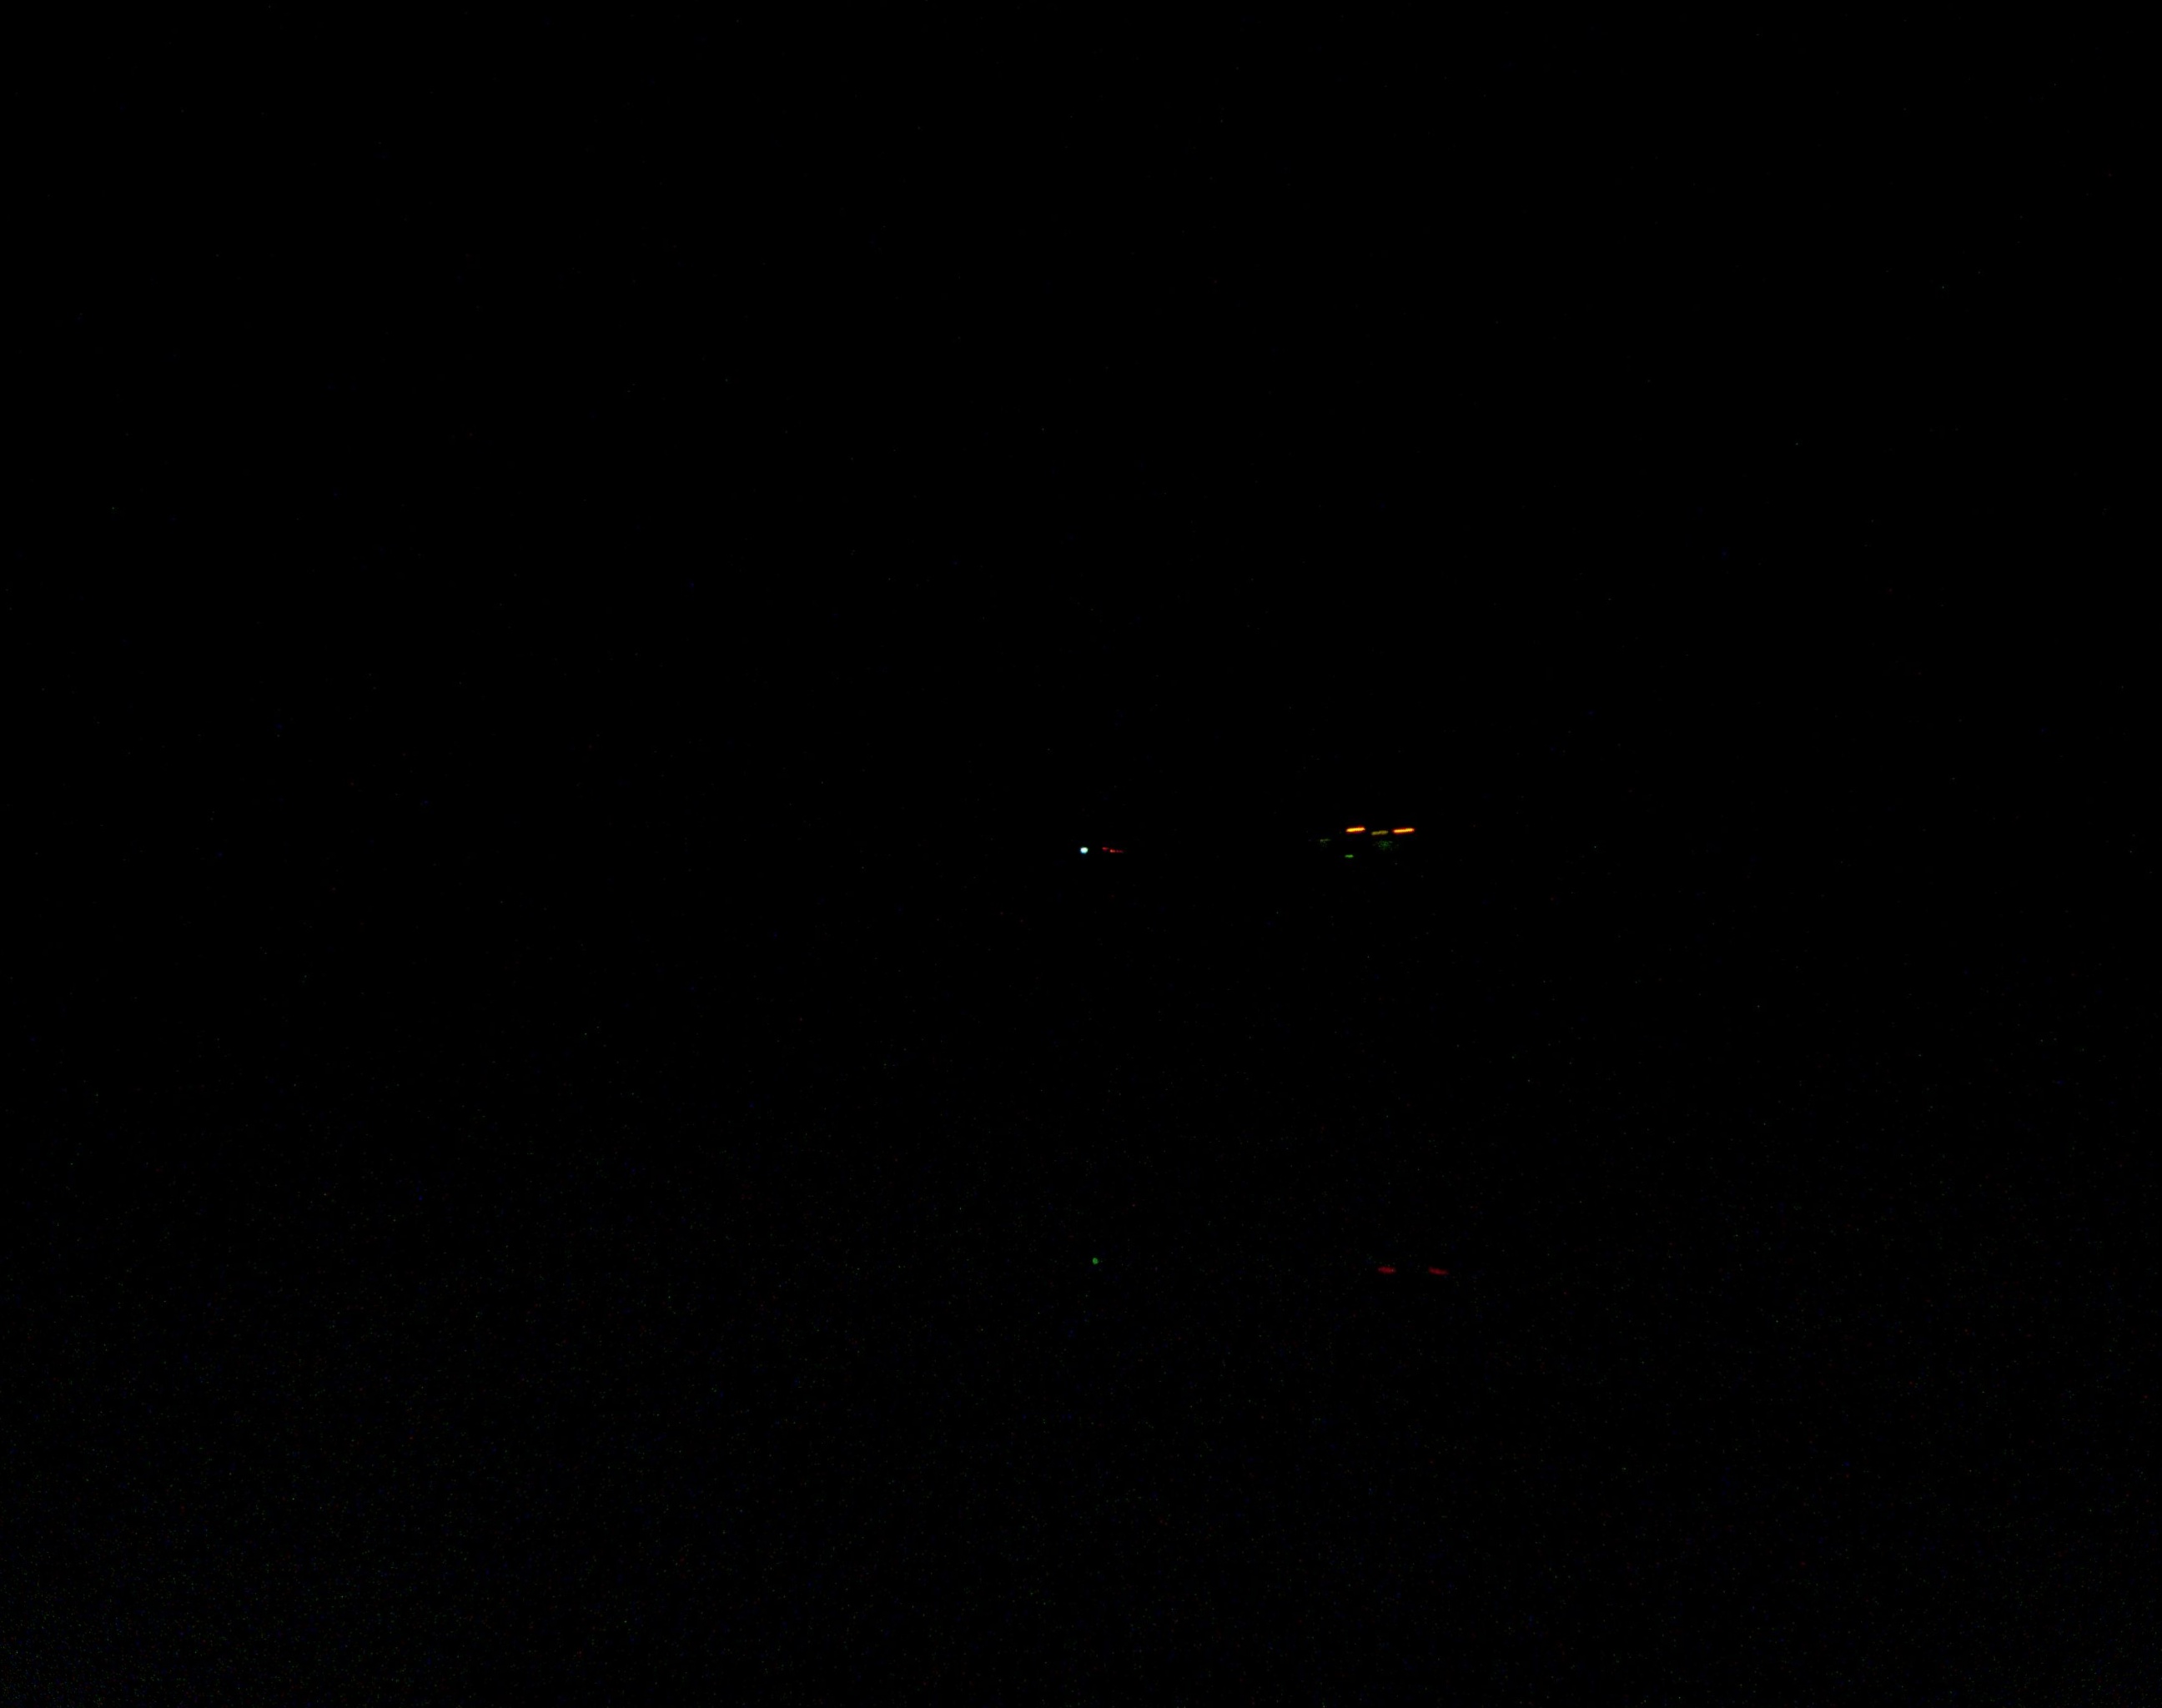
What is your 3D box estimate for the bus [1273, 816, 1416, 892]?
[{"bbox_3d":[12.536,-0.056,37.841,2.793,3.092,12.516,-1,1,0],"label":"bus"}]
